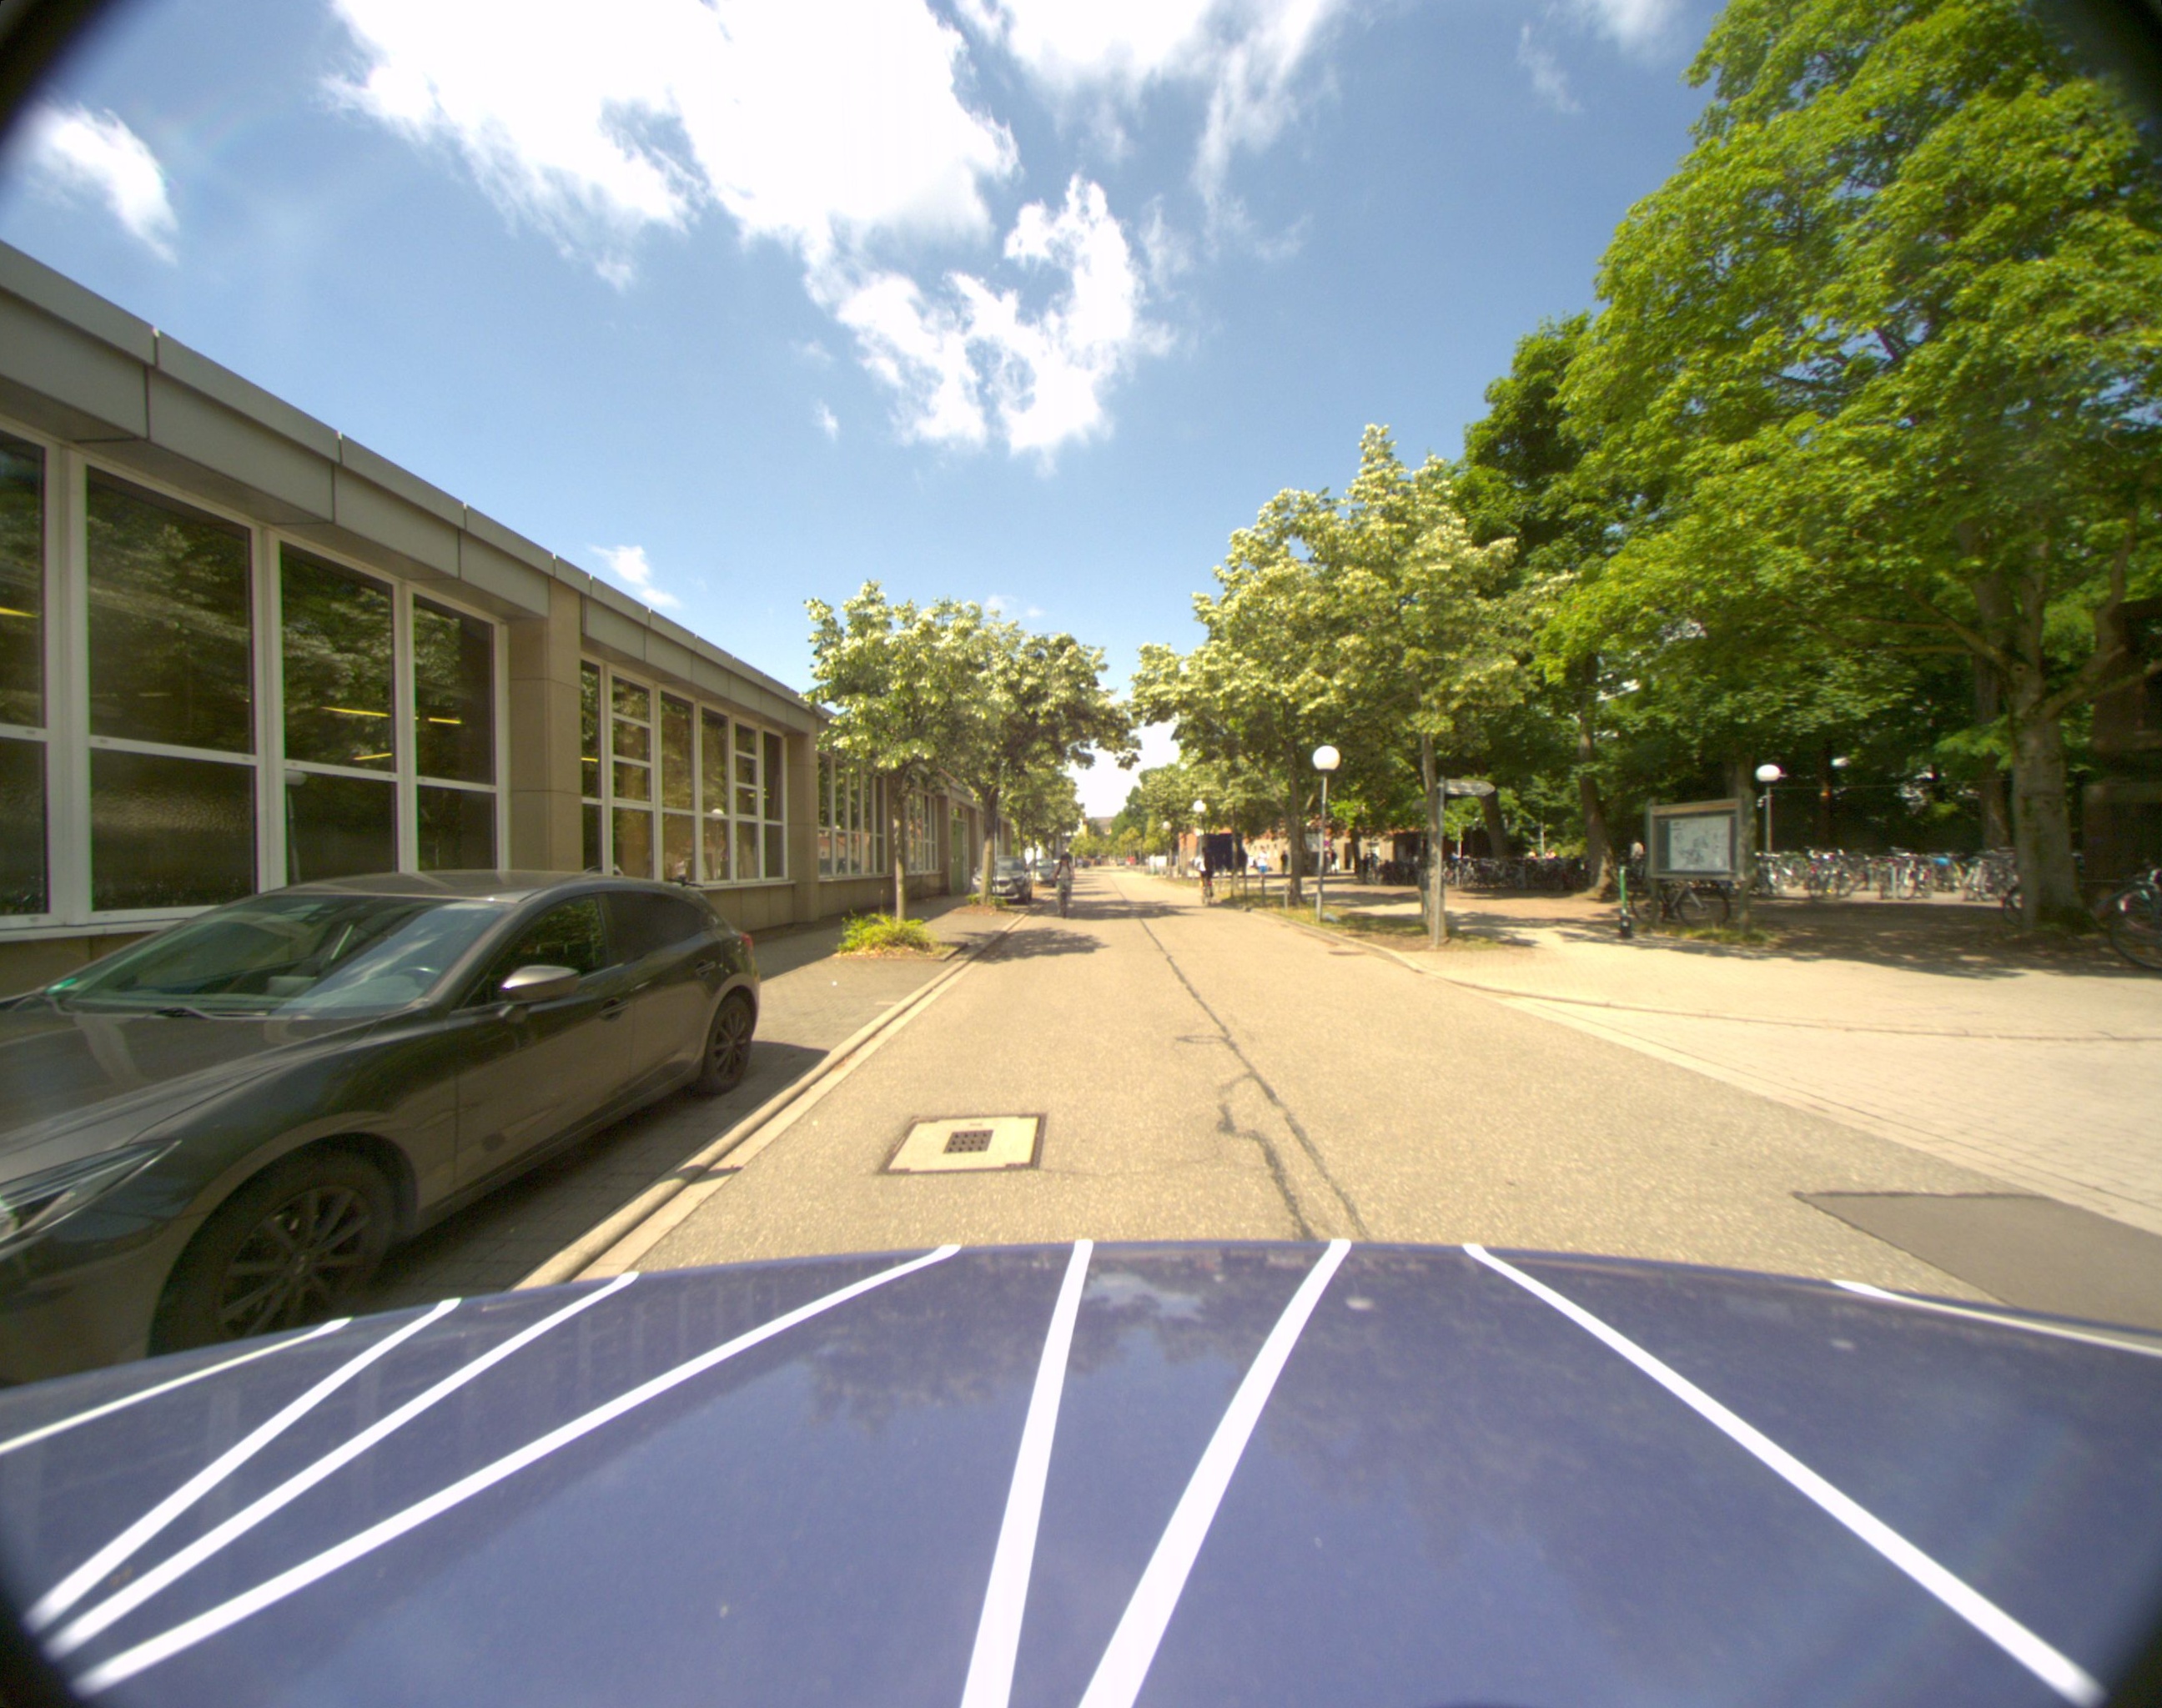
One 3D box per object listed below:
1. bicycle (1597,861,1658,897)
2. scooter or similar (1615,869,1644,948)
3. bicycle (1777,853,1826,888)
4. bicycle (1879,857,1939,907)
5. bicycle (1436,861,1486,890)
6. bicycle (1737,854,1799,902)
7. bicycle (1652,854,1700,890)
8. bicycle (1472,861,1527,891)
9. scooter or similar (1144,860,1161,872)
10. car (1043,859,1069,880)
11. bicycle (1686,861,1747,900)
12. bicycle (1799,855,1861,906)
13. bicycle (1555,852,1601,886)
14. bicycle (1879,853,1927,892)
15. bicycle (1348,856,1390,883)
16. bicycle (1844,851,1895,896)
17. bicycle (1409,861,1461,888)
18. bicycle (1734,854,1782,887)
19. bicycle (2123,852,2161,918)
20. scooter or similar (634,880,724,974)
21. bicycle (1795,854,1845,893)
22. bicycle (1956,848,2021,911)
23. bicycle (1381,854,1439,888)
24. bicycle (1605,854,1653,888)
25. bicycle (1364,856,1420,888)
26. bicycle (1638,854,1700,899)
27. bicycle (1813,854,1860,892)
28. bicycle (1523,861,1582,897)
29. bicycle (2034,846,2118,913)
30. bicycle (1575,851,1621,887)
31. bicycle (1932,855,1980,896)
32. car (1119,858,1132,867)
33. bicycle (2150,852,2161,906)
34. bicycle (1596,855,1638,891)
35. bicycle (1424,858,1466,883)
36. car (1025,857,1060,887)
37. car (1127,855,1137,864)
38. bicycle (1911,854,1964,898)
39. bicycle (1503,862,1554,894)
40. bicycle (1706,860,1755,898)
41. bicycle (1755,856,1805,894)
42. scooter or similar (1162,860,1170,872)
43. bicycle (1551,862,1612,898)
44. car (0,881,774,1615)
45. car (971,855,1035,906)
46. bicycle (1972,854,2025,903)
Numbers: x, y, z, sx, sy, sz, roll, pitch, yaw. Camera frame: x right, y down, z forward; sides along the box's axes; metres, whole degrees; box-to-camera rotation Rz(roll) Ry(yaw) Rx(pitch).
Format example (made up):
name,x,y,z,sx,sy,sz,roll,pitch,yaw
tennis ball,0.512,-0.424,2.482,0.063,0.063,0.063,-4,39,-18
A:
name,x,y,z,sx,sy,sz,roll,pitch,yaw
bicycle,16.836,0.751,23.382,2.789,1.009,0.880,-1,0,-41
scooter or similar,8.797,0.839,12.164,0.339,1.169,1.331,-1,0,37
bicycle,23.805,0.531,25.094,1.970,1.083,0.546,-1,0,-28
bicycle,19.871,0.636,18.214,2.689,1.070,0.880,-1,0,-41
bicycle,14.236,0.797,28.437,1.894,1.002,0.676,-1,0,-28
bicycle,18.754,0.626,20.712,2.889,1.171,0.880,-1,0,-41
bicycle,20.151,0.589,25.720,2.064,1.151,0.638,-1,-1,-34
bicycle,15.038,0.773,27.291,2.157,1.002,0.676,-1,0,-29
scooter or similar,7.216,1.186,76.268,1.571,1.218,0.571,-1,0,28
car,-1.749,1.063,54.267,1.730,1.458,4.672,0,0,0
bicycle,18.097,0.737,21.603,2.739,0.997,0.880,-1,0,-41
bicycle,18.782,0.630,19.018,2.714,1.172,0.880,-1,0,-41
bicycle,18.688,0.553,28.547,2.064,1.227,0.638,-1,-1,-34
bicycle,25.037,0.543,23.138,2.064,1.125,0.638,-1,-1,-34
bicycle,12.547,0.676,33.107,1.780,1.125,0.458,-1,0,-16
bicycle,22.752,0.556,21.914,2.063,1.126,0.638,-4,1,-34
bicycle,13.707,0.781,29.400,2.157,1.002,0.676,-1,0,-29
bicycle,23.265,0.559,26.109,1.970,1.083,0.546,-1,0,-28
bicycle,21.938,0.597,15.377,2.966,1.120,0.741,-4,2,-41
scooter or similar,-5.925,1.040,11.276,0.512,1.242,1.486,1,0,2
bicycle,22.225,0.569,22.835,2.064,1.125,0.638,-1,-1,-34
bicycle,20.544,0.537,17.241,2.939,1.279,0.880,-1,0,-41
bicycle,13.258,0.671,30.598,2.061,1.227,0.808,-3,1,-16
bicycle,19.171,0.580,26.565,2.064,1.125,0.638,-1,-1,-34
bicycle,12.891,0.741,31.516,2.062,1.227,0.808,-2,0,-16
bicycle,17.538,0.650,22.615,2.914,1.213,0.880,-1,0,-41
bicycle,24.239,0.598,24.360,2.064,1.125,0.638,-1,-1,-34
bicycle,15.562,0.812,25.038,2.757,1.080,0.880,-1,0,-41
bicycle,21.173,0.491,16.222,3.089,1.289,0.880,-1,0,-41
bicycle,19.013,0.538,27.910,2.064,1.227,0.638,-2,0,-34
bicycle,25.708,0.607,22.318,2.064,1.125,0.638,-1,-1,-34
car,11.657,2.220,197.209,2.022,2.079,4.440,-1,-1,22
bicycle,25.800,0.577,17.866,2.063,1.126,0.673,-4,1,-34
bicycle,19.315,0.668,27.379,2.063,1.126,0.478,-4,1,-34
bicycle,16.491,0.742,34.461,1.863,1.083,0.546,-1,0,-20
car,-2.104,0.954,42.252,1.708,1.564,4.140,1,0,0
car,11.374,1.214,170.866,1.912,1.870,4.003,-1,-1,8
bicycle,23.234,0.587,20.599,2.064,1.125,0.638,-1,-1,-34
bicycle,15.291,0.790,25.945,2.656,1.002,0.676,-1,0,-41
bicycle,21.063,0.807,24.624,2.064,1.126,0.638,-2,0,-34
bicycle,21.613,0.643,23.491,2.064,1.125,0.638,-1,-1,-34
scooter or similar,8.220,1.141,73.650,0.564,1.142,1.351,-1,0,13
bicycle,16.009,0.800,24.253,2.839,1.044,0.880,-1,0,-41
car,-3.229,0.941,3.420,1.785,1.468,4.462,1,0,1
car,-2.674,0.878,27.073,1.827,1.654,4.584,0,0,0
bicycle,23.876,0.615,19.759,2.064,1.126,0.638,-3,0,-34
